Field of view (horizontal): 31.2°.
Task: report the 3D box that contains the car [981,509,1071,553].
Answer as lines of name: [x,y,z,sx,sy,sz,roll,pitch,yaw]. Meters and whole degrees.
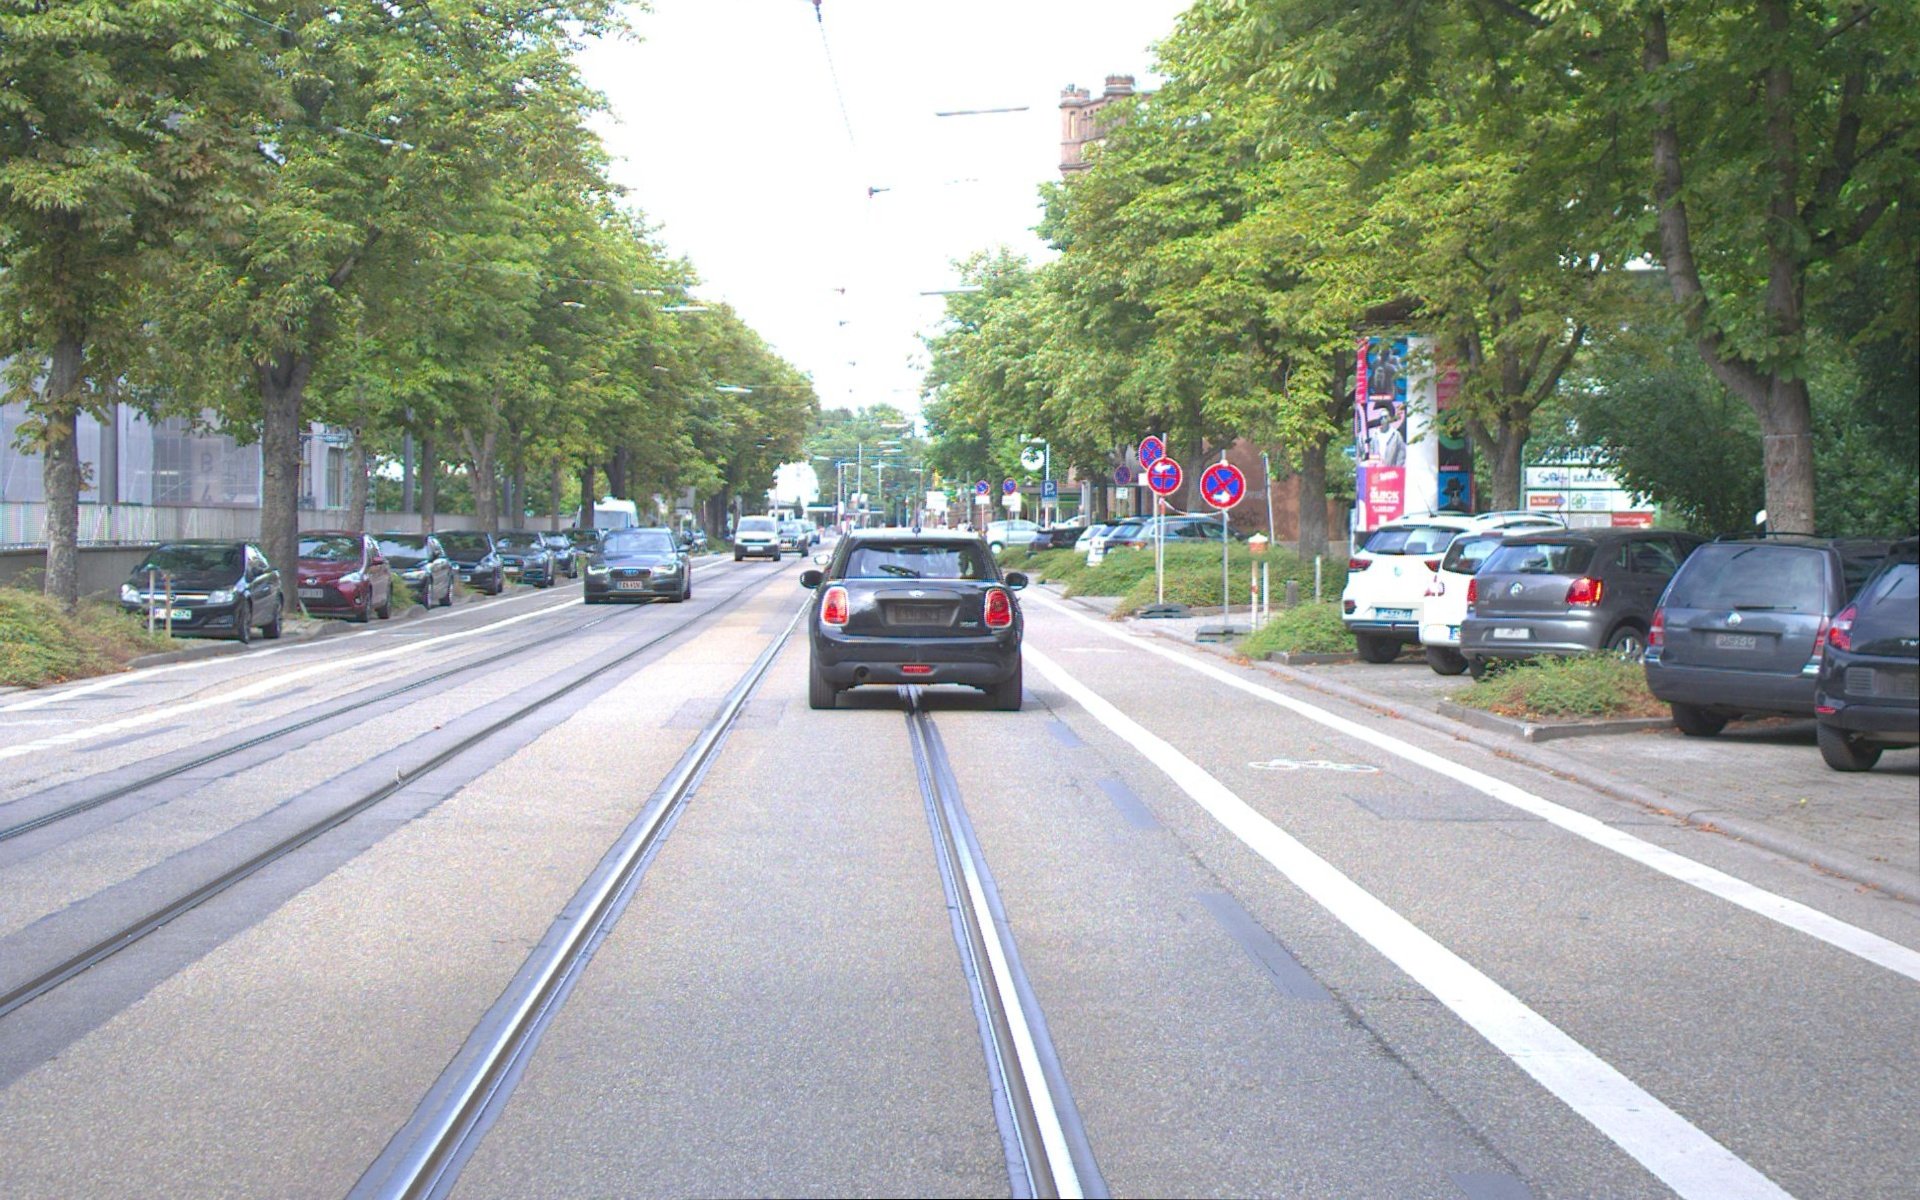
car: [3.085,-3.225,160.394,3.986,1.904,2.000,1,1,-4]

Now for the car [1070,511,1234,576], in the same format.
car: [4.919,-1.458,88.613,3.986,1.622,1.885,1,1,-4]

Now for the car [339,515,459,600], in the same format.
car: [-10.821,-0.850,66.526,1.802,1.578,4.032,-1,1,-2]

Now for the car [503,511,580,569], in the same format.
car: [-11.679,-1.681,96.232,1.802,1.578,4.032,-1,1,-2]

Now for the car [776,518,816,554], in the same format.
car: [-7.588,-2.981,158.999,1.802,1.616,4.485,-1,1,-2]

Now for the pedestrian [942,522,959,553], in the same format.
pedestrian: [-0.505,-3.295,182.029,0.726,1.640,0.766,2,1,9]

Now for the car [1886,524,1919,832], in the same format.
car: [6.498,0.397,17.900,1.639,1.517,3.730,2,1,43]

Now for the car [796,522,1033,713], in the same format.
car: [-0.426,0.092,28.431,1.793,1.418,4.001,1,1,-2]

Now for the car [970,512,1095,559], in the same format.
car: [2.395,-2.152,114.189,3.986,1.503,1.885,1,1,-4]

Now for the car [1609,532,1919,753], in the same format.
car: [6.427,0.267,24.818,1.639,1.453,3.730,2,1,43]

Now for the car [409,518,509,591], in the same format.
car: [-11.217,-1.043,77.191,1.802,1.578,4.032,-1,1,-2]

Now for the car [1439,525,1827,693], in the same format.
car: [6.190,0.055,31.468,3.525,1.437,1.623,-1,2,-40]

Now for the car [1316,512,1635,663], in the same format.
car: [5.667,-0.157,37.626,3.437,1.567,1.560,-1,2,-40]

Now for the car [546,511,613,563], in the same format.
car: [-11.914,-1.997,107.839,1.802,1.578,4.032,-1,1,-2]

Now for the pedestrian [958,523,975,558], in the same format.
pedestrian: [0.312,-2.824,162.915,0.726,1.640,0.766,1,1,0]

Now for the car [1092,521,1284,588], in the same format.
car: [5.037,-1.020,76.311,3.986,1.420,1.885,1,1,-4]

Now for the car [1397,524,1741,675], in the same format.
car: [6.148,-0.031,34.569,3.437,1.437,1.560,-1,2,-40]

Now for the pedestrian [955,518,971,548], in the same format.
pedestrian: [0.145,-3.654,187.961,0.726,1.640,0.766,2,1,9]

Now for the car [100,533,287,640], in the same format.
car: [-10.482,-0.216,47.272,1.802,1.369,4.032,-1,1,-2]

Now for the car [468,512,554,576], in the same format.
car: [-11.388,-1.440,87.352,1.802,1.578,4.032,-1,1,-2]

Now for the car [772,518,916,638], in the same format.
car: [-1.529,-0.328,46.159,1.793,1.465,4.000,2,1,-1]

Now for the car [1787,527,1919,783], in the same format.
car: [6.960,0.326,21.867,1.639,1.517,3.730,2,1,43]

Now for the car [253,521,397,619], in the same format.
car: [-10.613,-0.530,57.661,1.802,1.578,4.032,-1,1,-2]

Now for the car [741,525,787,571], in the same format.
car: [-7.937,-2.113,139.456,1.802,1.817,4.485,-1,1,-2]

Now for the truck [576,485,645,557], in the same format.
truck: [-12.276,-2.777,120.921,2.070,2.462,4.900,-1,1,-2]

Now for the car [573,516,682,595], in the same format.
car: [-6.419,-0.889,66.702,1.834,1.443,4.554,1,1,-2]

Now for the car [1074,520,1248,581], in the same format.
car: [4.843,-1.212,83.209,3.986,1.420,1.885,1,1,-4]
